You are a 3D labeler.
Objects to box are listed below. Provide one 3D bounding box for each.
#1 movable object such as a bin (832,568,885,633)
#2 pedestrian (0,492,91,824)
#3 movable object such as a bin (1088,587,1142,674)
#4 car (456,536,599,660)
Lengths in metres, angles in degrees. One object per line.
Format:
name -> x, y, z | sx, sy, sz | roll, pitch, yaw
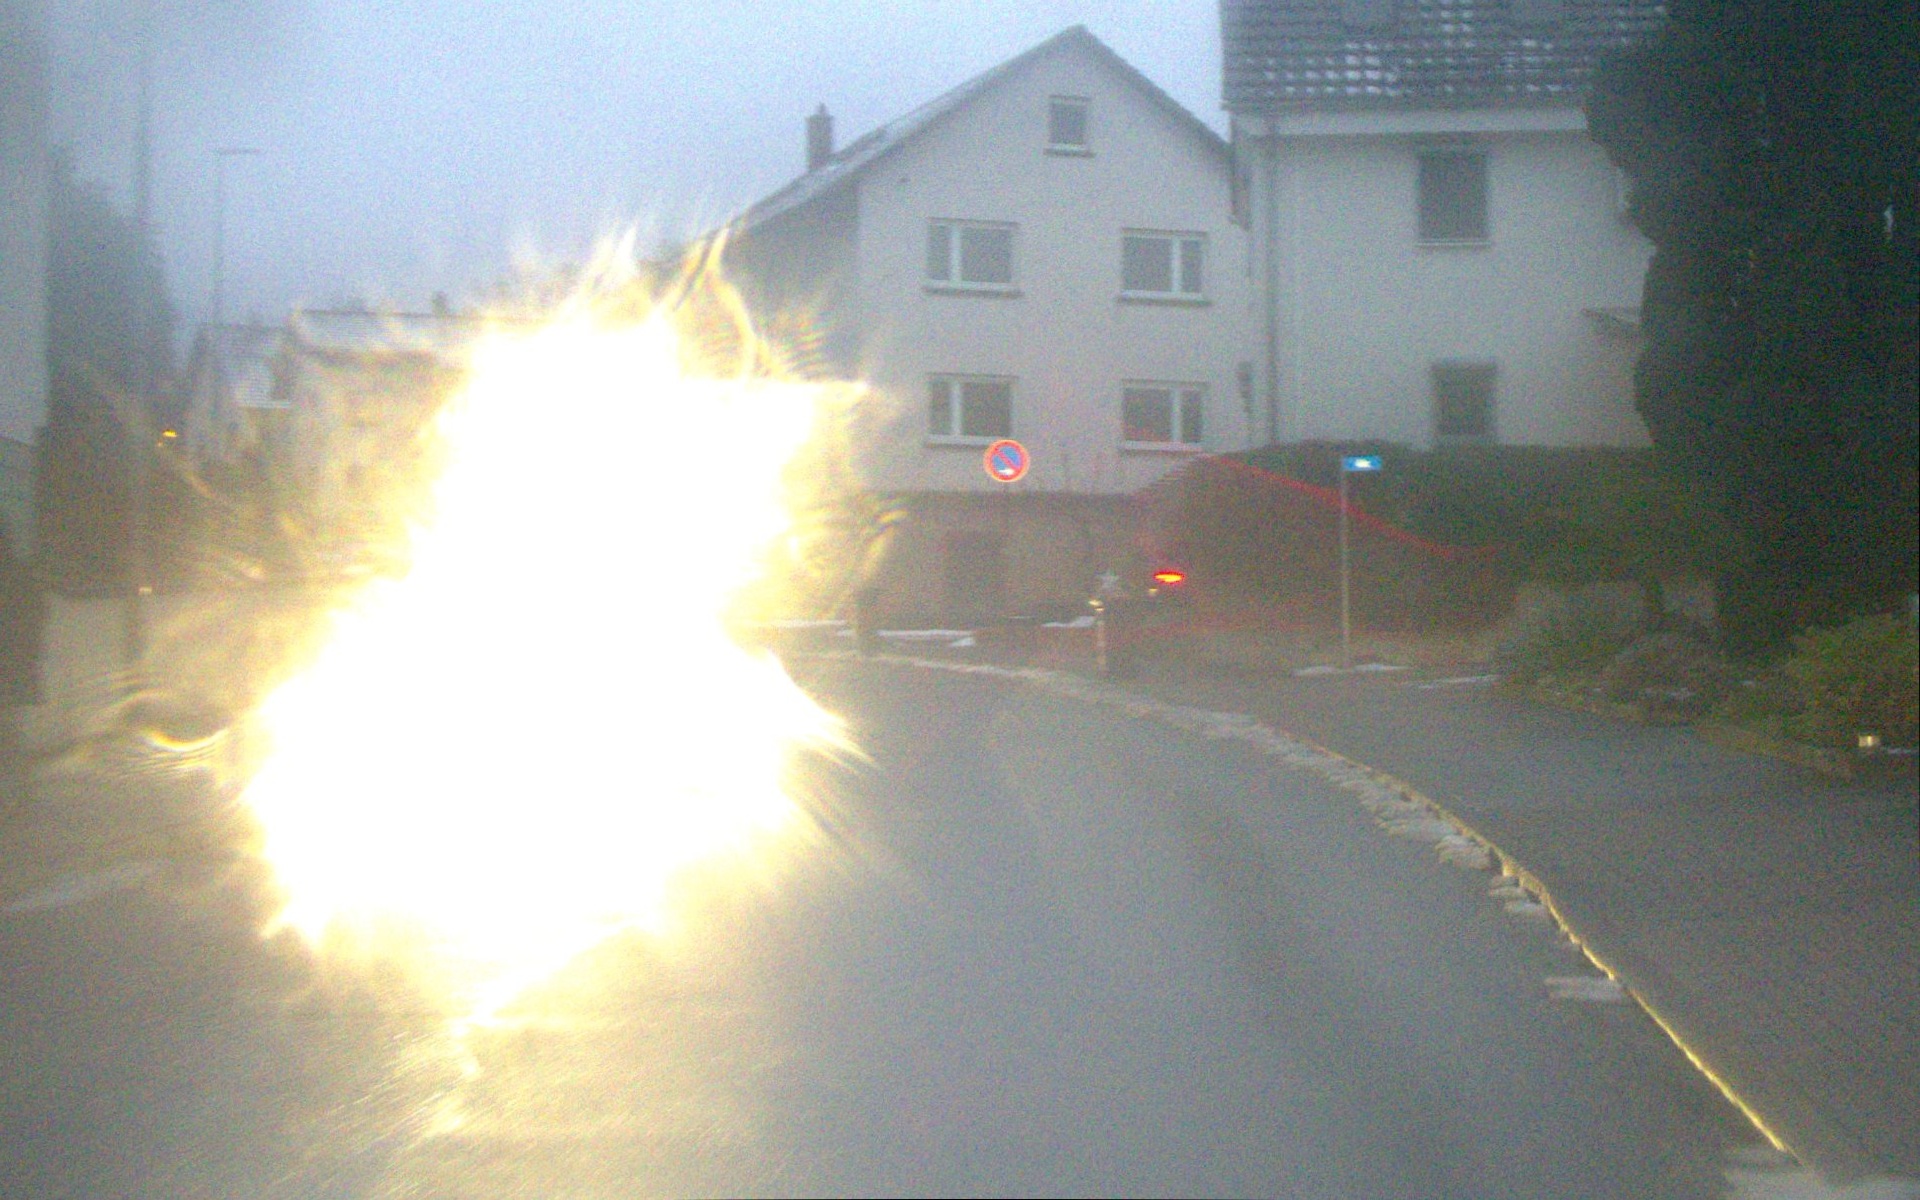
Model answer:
movable object such as a bin -> -1.466, 0.005, 49.672 | 0.637, 0.914, 0.686 | 1, 1, -13
pedestrian -> -5.097, 0.302, 18.381 | 0.598, 1.727, 0.812 | 2, -1, 3
movable object such as a bin -> 1.701, 0.333, 37.697 | 0.537, 0.935, 0.689 | 1, 1, -1
car -> -7.353, -0.064, 58.868 | 2.110, 2.020, 4.983 | 0, 1, -4
